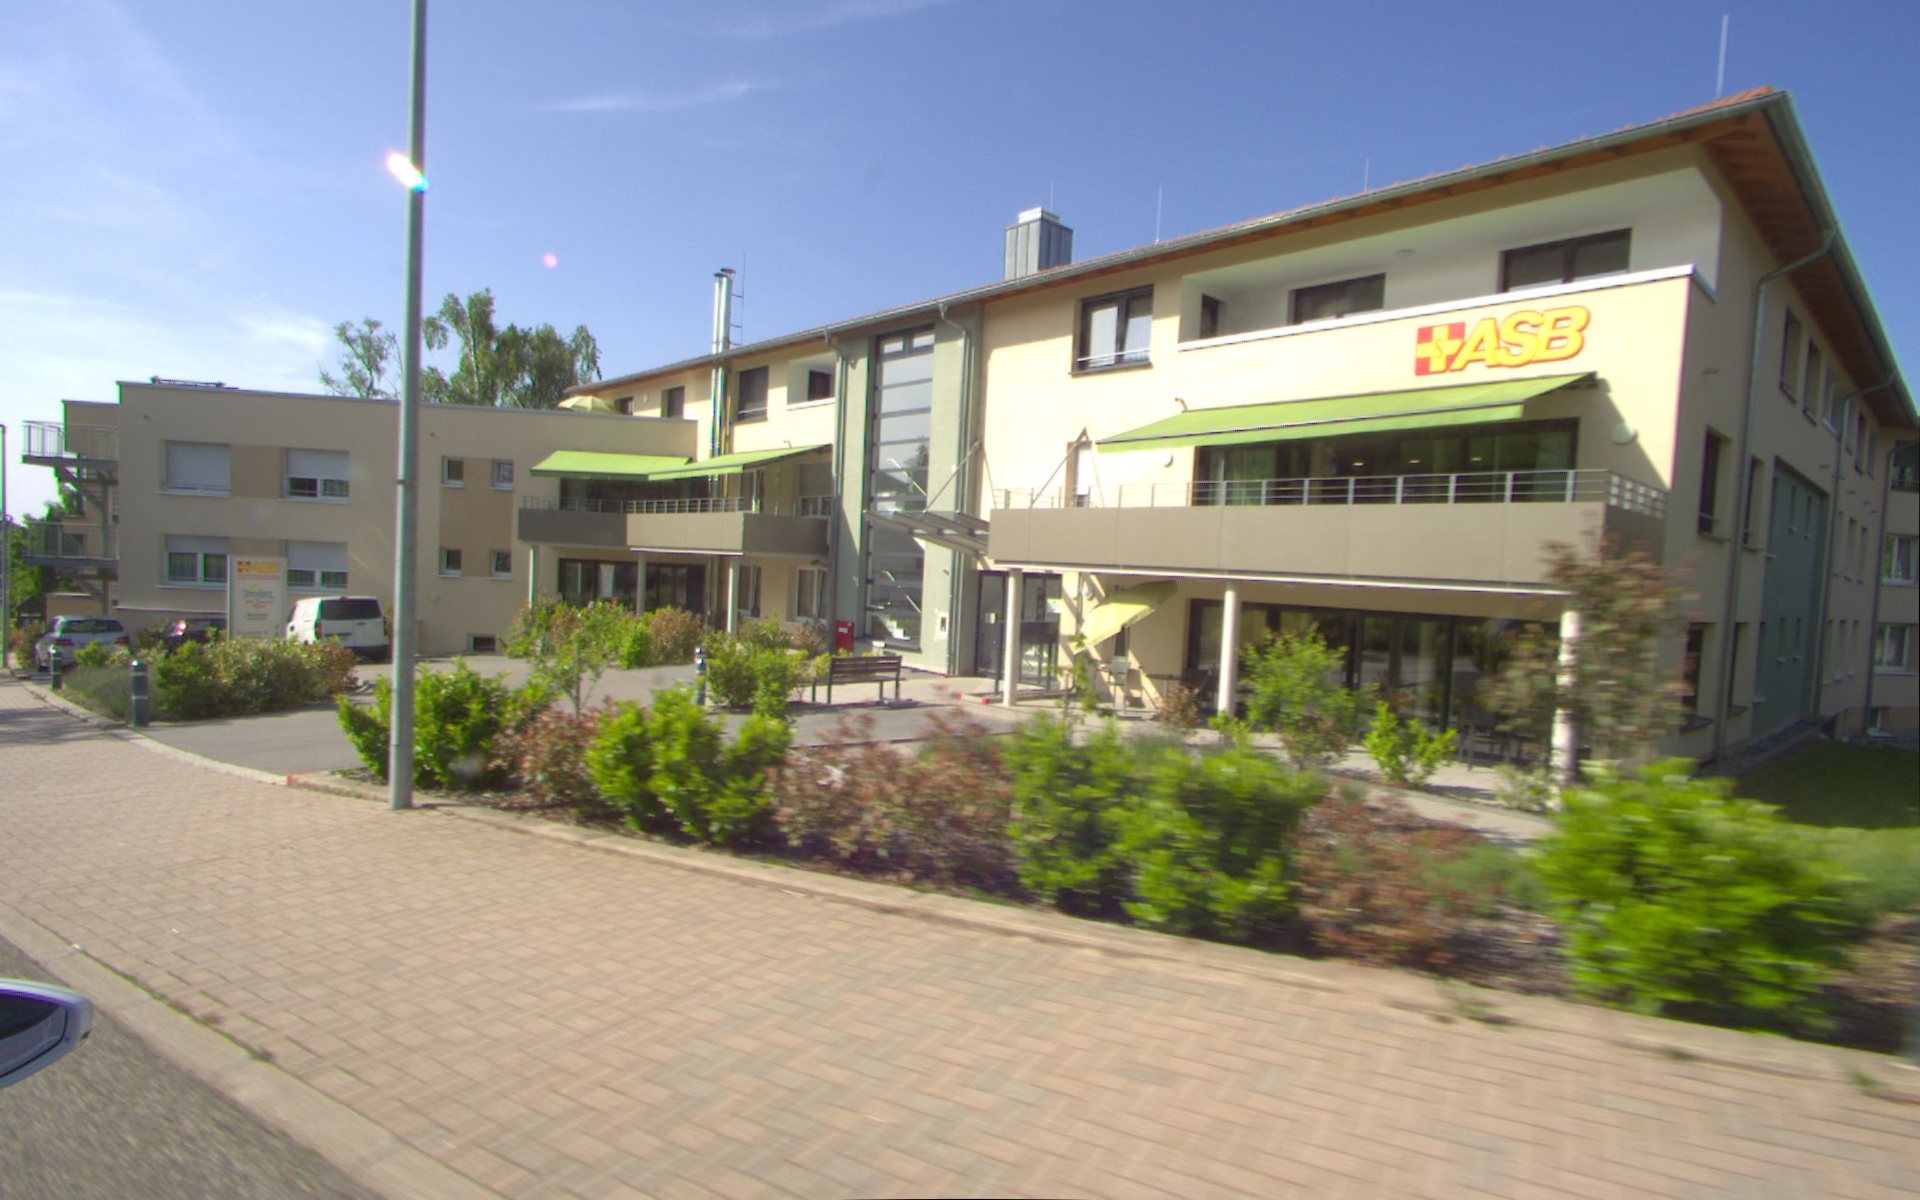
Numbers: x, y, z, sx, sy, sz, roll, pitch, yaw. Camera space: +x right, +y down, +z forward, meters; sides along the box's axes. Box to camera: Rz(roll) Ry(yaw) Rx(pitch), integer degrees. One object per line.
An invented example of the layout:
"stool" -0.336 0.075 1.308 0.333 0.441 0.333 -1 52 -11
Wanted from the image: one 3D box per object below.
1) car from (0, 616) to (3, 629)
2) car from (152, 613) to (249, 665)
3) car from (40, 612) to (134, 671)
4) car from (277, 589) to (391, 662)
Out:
"car" -114.055 2.626 117.964 3.965 1.446 1.698 -1 -1 44
"car" -22.572 1.109 29.705 3.965 1.446 1.698 -1 -1 44
"car" -25.037 1.132 28.675 3.965 1.555 1.698 -1 -1 44
"car" -18.428 0.725 29.398 4.685 1.960 1.793 -1 -1 44
